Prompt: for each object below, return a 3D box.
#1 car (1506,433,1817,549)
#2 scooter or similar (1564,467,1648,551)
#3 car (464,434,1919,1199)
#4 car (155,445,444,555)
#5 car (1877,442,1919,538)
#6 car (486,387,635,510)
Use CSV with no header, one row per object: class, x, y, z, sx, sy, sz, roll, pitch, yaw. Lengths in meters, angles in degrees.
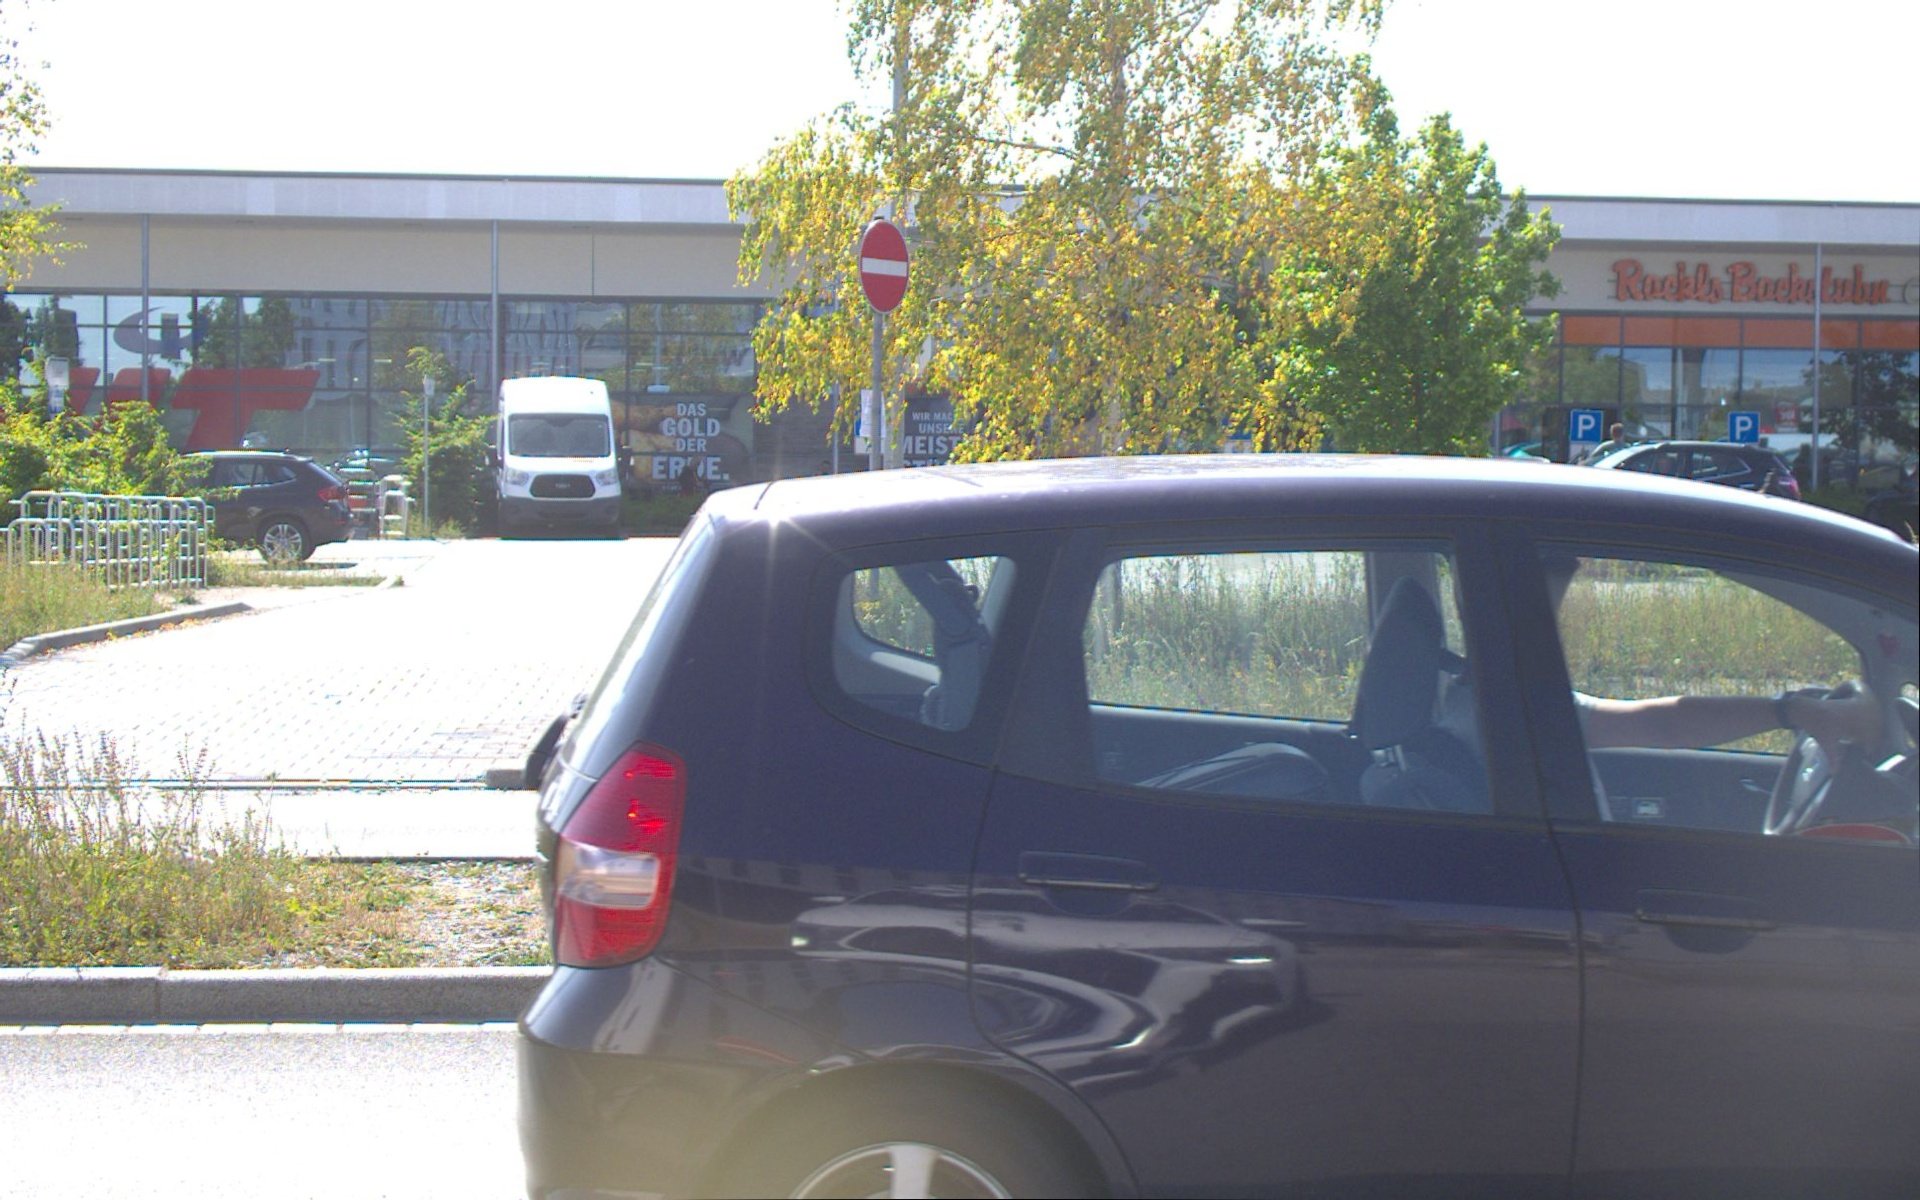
car,9.538,-1.496,46.911,3.793,1.503,1.732,0,3,-5
scooter or similar,8.484,-1.194,45.163,0.943,1.075,0.652,1,3,-1
car,1.177,0.511,6.031,3.830,1.545,2.000,1,3,-1
car,-9.081,-1.390,47.501,3.831,1.418,1.773,1,2,-9
car,18.052,-1.936,61.152,1.993,1.701,4.002,0,3,-6
car,-6.951,-2.629,59.252,2.222,1.970,6.699,0,3,-9
